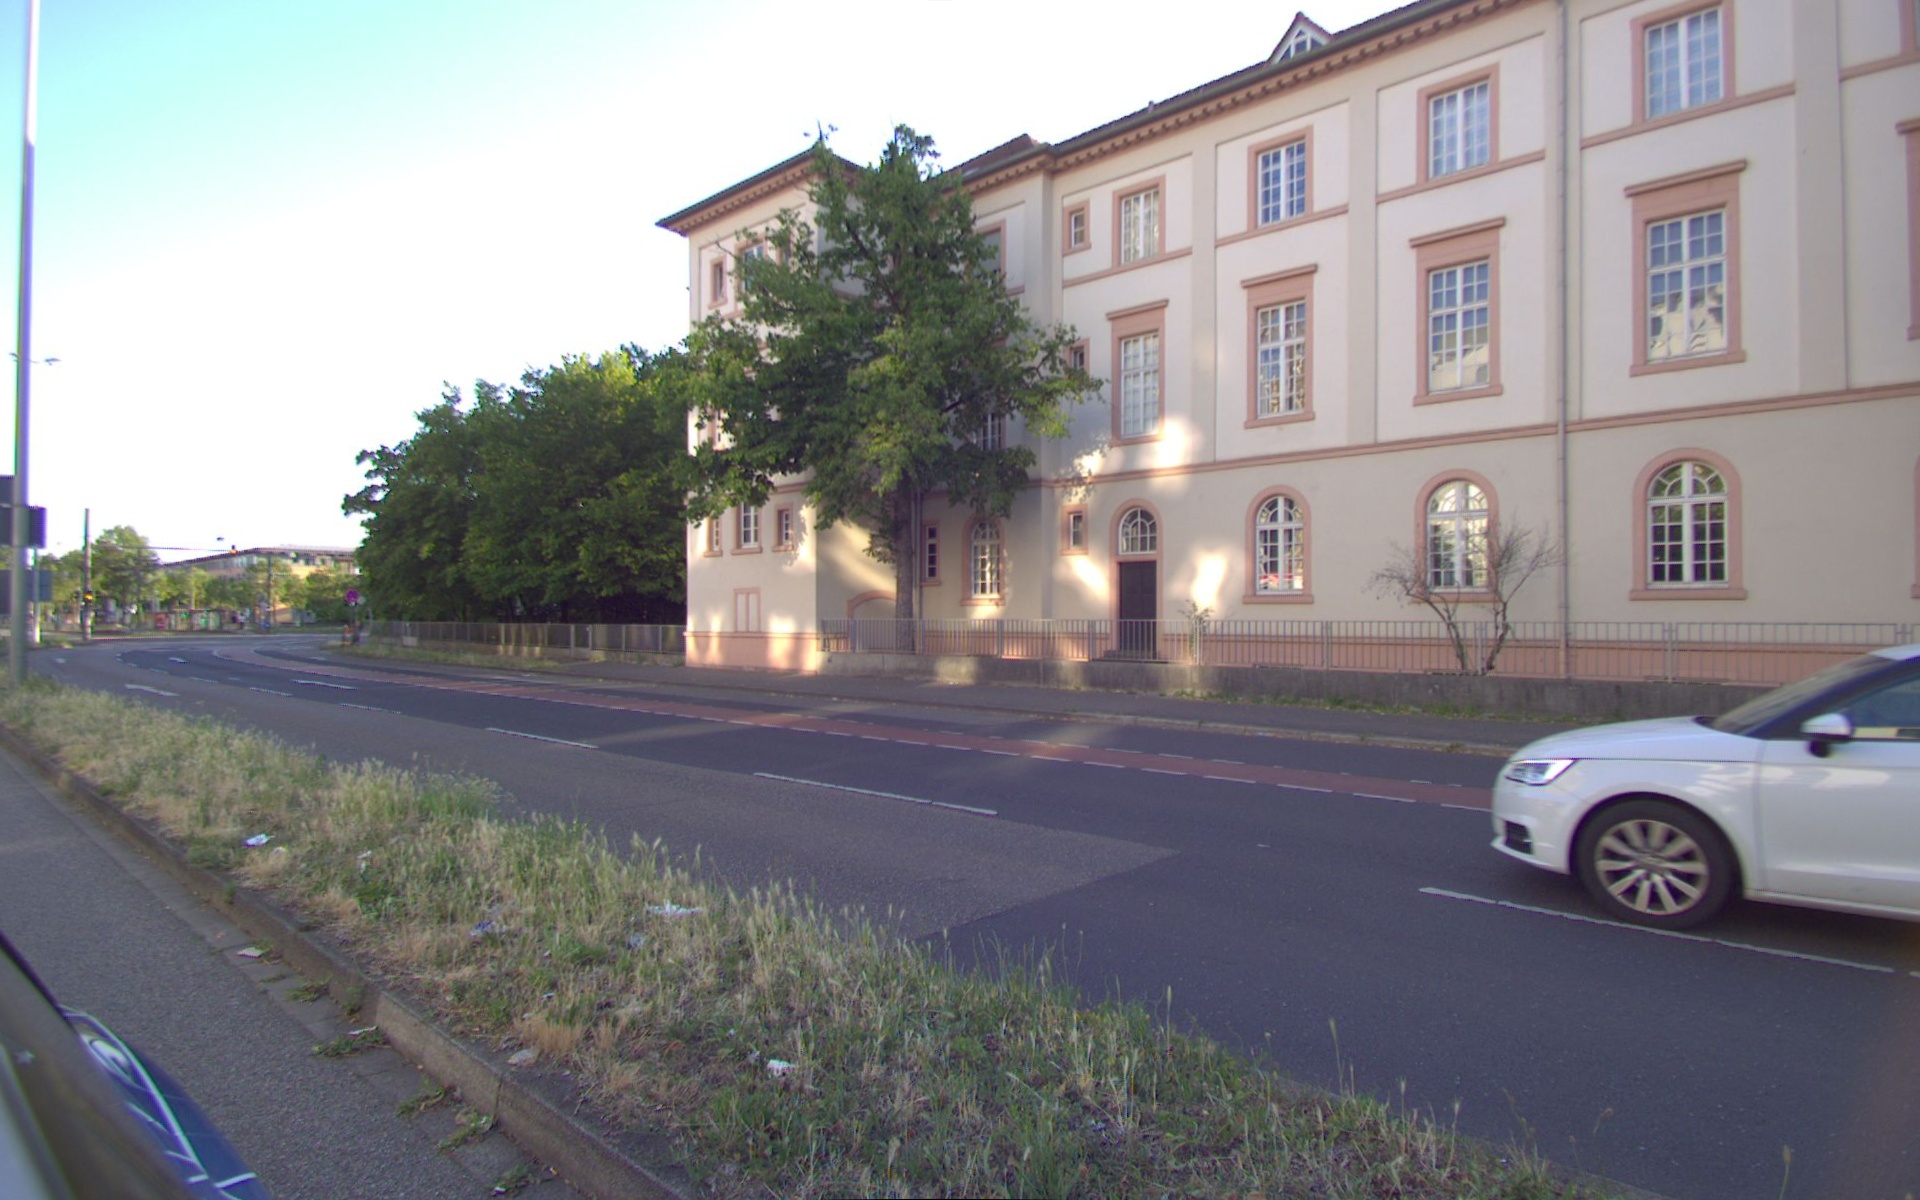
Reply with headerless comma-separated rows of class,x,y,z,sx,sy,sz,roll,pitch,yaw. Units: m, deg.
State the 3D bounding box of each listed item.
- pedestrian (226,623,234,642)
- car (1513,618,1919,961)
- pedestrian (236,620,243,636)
pedestrian,-79.993,3.572,110.849,0.664,2.029,0.549,-1,-2,41
car,4.738,0.797,4.555,3.684,1.398,1.673,-1,-3,41
pedestrian,-79.000,3.081,110.961,0.419,1.718,0.461,-1,-2,41
